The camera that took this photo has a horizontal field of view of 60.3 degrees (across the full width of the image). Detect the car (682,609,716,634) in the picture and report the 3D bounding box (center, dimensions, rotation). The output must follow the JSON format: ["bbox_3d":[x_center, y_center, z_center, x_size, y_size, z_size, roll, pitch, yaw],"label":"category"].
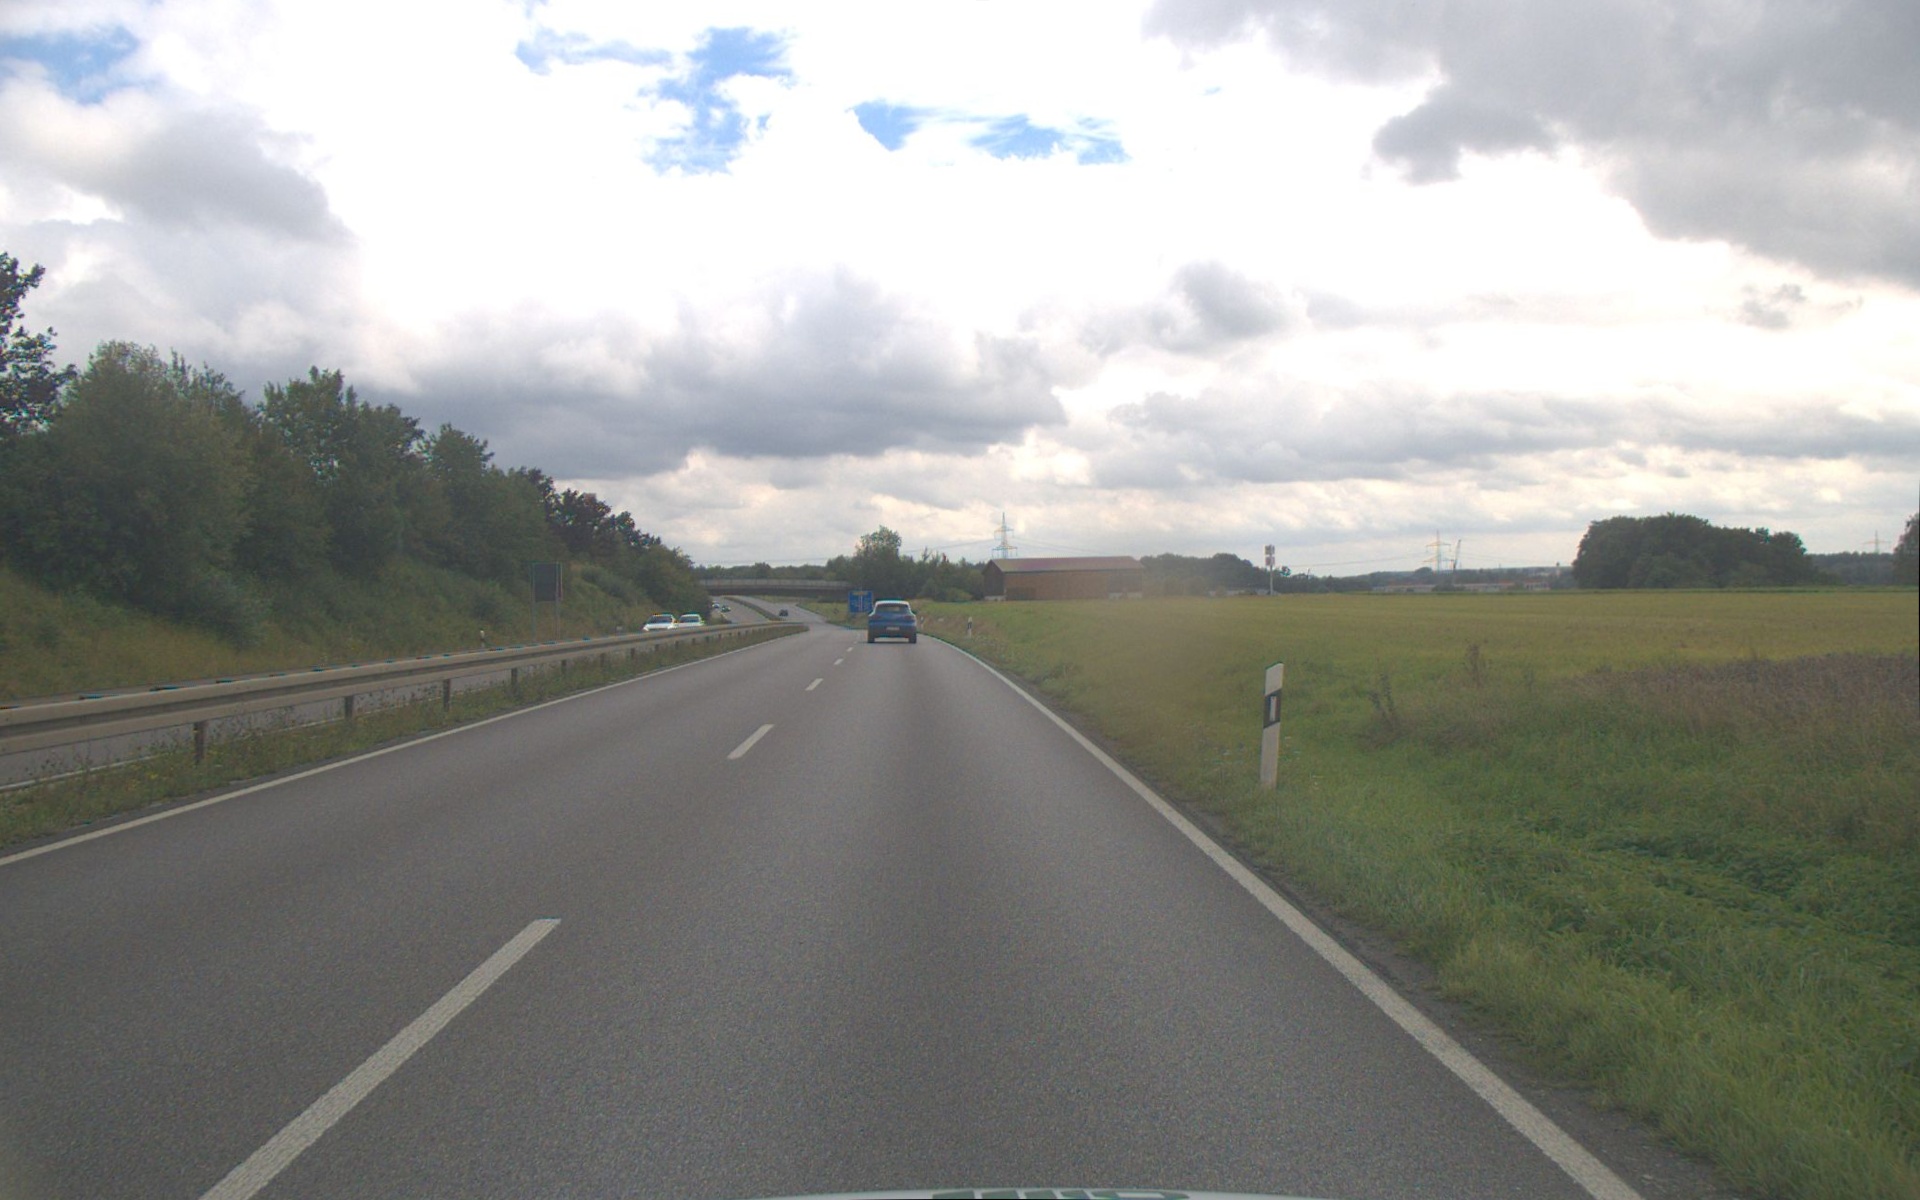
[{"bbox_3d":[-17.955,1.449,113.822,1.883,1.544,4.460,-1,1,-4],"label":"car"}]

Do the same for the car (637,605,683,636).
[{"bbox_3d":[-17.060,1.139,94.215,1.954,1.544,4.986,-1,1,-3],"label":"car"}]

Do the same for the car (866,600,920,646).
[{"bbox_3d":[-2.657,0.861,64.770,1.993,1.689,4.540,0,1,-4],"label":"car"}]
